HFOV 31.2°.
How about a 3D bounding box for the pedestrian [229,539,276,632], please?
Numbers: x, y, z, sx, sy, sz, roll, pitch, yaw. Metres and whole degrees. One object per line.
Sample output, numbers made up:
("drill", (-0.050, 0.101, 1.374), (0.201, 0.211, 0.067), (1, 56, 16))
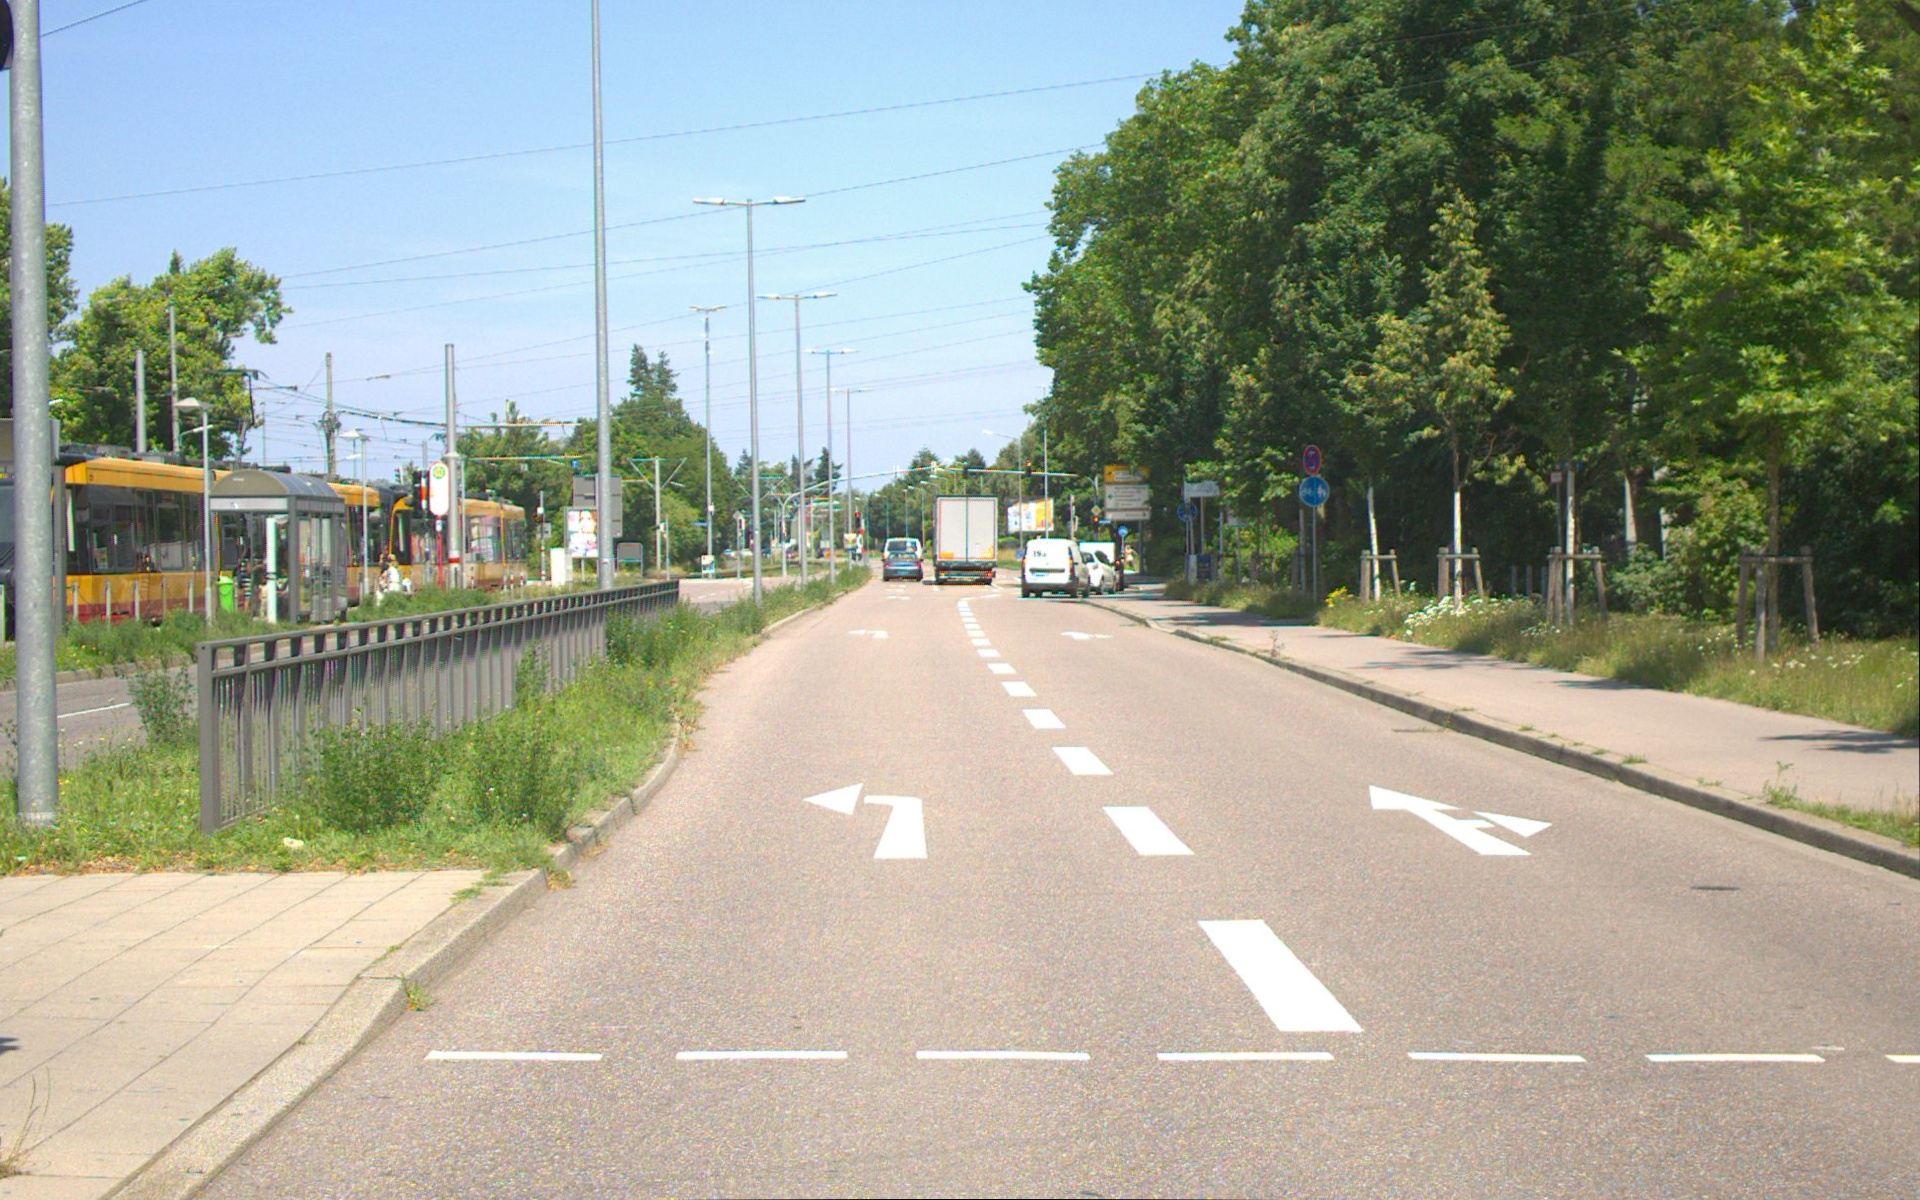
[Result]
("pedestrian", (-14.259, -0.303, 69.304), (0.785, 1.862, 0.817), (0, 1, -1))

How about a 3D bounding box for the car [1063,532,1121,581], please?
("car", (4.547, -1.518, 118.790), (1.779, 1.663, 4.000), (0, 1, -1))

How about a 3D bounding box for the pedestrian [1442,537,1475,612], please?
("pedestrian", (9.611, -0.500, 66.255), (0.604, 1.433, 0.556), (0, 1, 6))

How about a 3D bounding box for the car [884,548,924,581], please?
("car", (-2.556, -1.654, 157.886), (1.811, 1.459, 4.000), (0, 1, -1))

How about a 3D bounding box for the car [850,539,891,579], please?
("car", (-4.551, -2.078, 175.167), (1.993, 2.007, 4.000), (0, 1, -1))

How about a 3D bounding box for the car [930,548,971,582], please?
("car", (-0.432, -1.560, 153.619), (1.811, 1.459, 4.000), (0, 1, -1))

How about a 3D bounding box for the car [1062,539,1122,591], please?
("car", (4.298, -1.153, 112.446), (1.779, 1.663, 4.000), (0, 1, -1))

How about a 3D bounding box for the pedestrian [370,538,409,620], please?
("pedestrian", (-14.096, -0.526, 84.950), (0.815, 2.007, 0.938), (0, 1, -1))

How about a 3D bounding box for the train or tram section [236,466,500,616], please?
("train or tram section", (-17.270, -1.798, 103.970), (2.931, 3.776, 33.090), (0, 1, -1))

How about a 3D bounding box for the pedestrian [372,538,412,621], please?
("pedestrian", (-13.818, -0.509, 83.656), (0.815, 2.007, 0.938), (0, 1, -1))

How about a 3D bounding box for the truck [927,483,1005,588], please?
("truck", (0.213, -2.722, 146.054), (3.205, 4.344, 6.561), (0, 1, -1))

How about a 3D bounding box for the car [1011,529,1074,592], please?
("car", (2.509, -1.224, 105.516), (1.779, 1.897, 4.000), (0, 1, -1))

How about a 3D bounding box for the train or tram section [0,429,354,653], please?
("train or tram section", (-16.609, -1.242, 72.512), (2.957, 3.736, 30.035), (0, 1, -1))
